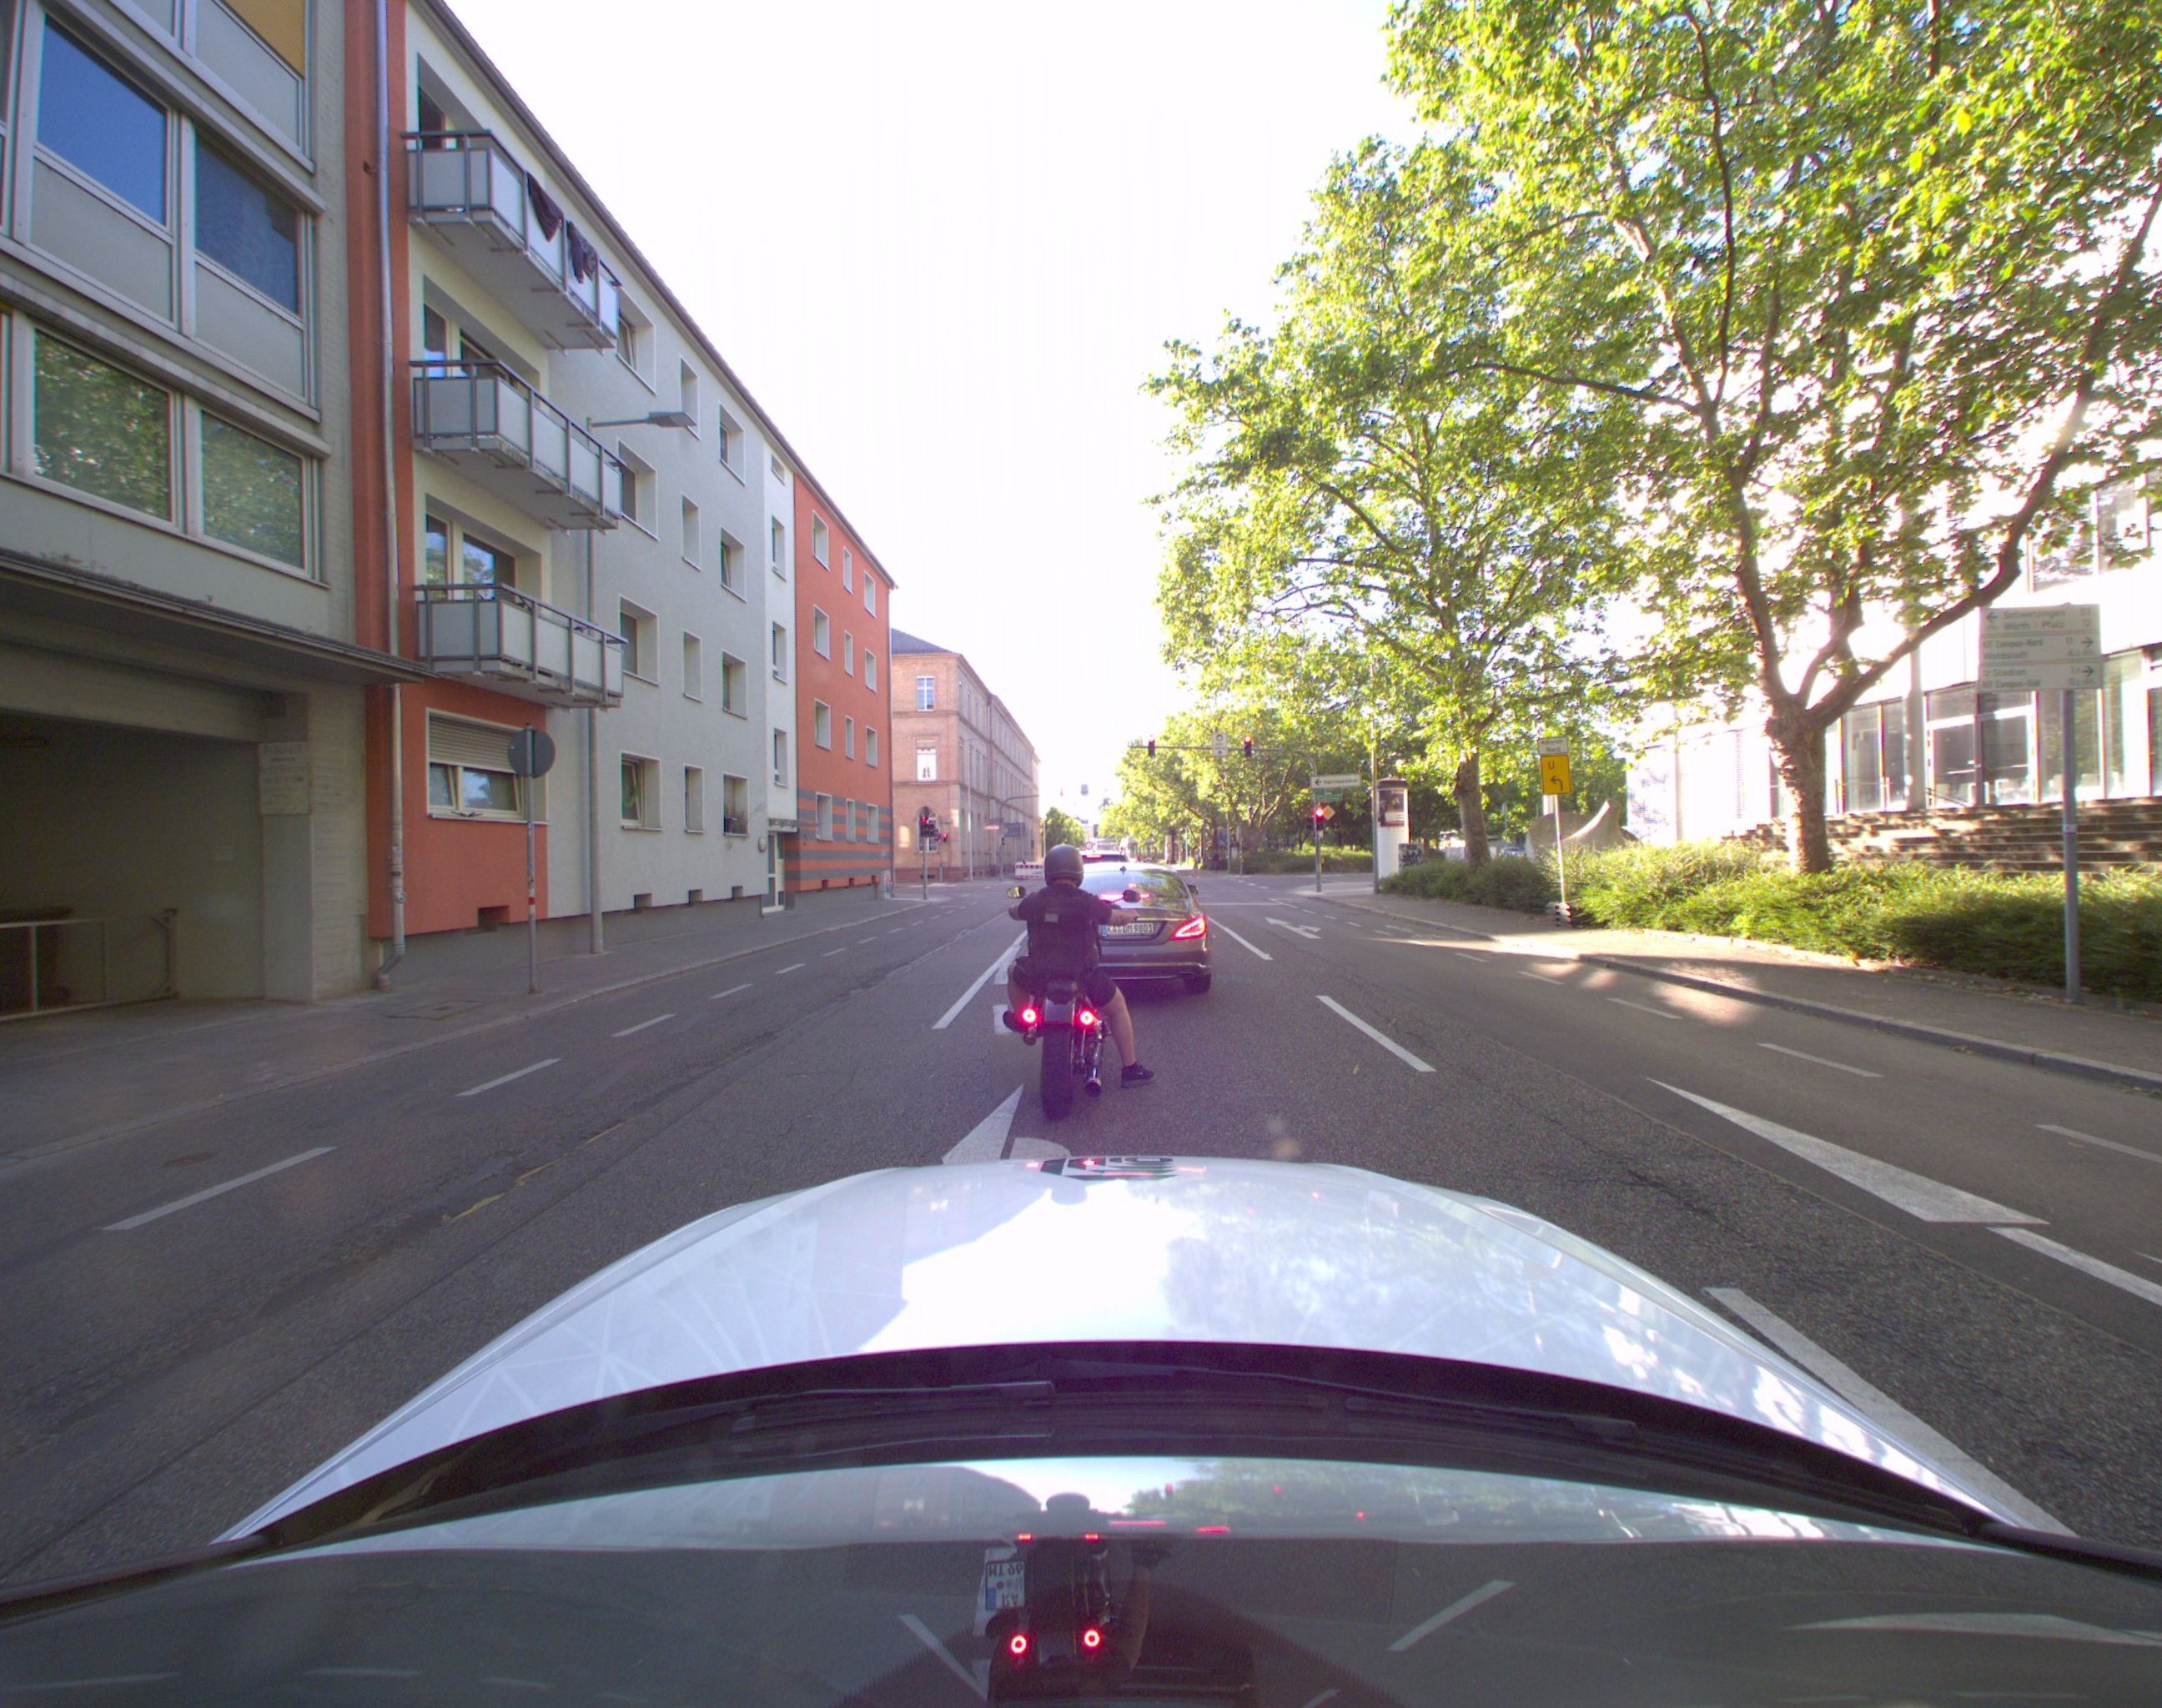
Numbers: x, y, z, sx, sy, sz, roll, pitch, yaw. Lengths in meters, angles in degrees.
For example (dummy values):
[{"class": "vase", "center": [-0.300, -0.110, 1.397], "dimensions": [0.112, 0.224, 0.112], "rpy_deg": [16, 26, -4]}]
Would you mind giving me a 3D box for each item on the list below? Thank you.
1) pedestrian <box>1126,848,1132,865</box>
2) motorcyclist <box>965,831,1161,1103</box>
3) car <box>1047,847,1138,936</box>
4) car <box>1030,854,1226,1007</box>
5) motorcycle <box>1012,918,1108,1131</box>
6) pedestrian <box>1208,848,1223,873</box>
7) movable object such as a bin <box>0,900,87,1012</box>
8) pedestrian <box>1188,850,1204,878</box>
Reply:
[{"class": "pedestrian", "center": [5.927, 0.275, 101.171], "dimensions": [0.761, 2.051, 0.712], "rpy_deg": [0, -1, 1]}, {"class": "motorcyclist", "center": [-0.088, 0.670, 5.442], "dimensions": [1.145, 1.598, 1.288], "rpy_deg": [0, -1, 1]}, {"class": "car", "center": [0.273, 0.691, 16.860], "dimensions": [1.615, 1.594, 4.002], "rpy_deg": [-1, 0, 2]}, {"class": "car", "center": [0.514, 0.738, 9.732], "dimensions": [1.875, 1.449, 3.821], "rpy_deg": [0, 0, 2]}, {"class": "motorcycle", "center": [-0.081, 1.003, 5.418], "dimensions": [0.511, 1.002, 2.014], "rpy_deg": [0, -1, 2]}, {"class": "pedestrian", "center": [10.484, 0.510, 63.541], "dimensions": [0.753, 1.910, 0.918], "rpy_deg": [0, -1, -26]}, {"class": "movable object such as a bin", "center": [-11.260, 1.060, 8.636], "dimensions": [0.626, 1.100, 0.659], "rpy_deg": [0, -1, 4]}, {"class": "pedestrian", "center": [7.483, 0.643, 53.175], "dimensions": [0.996, 1.826, 1.078], "rpy_deg": [0, -1, 8]}]
